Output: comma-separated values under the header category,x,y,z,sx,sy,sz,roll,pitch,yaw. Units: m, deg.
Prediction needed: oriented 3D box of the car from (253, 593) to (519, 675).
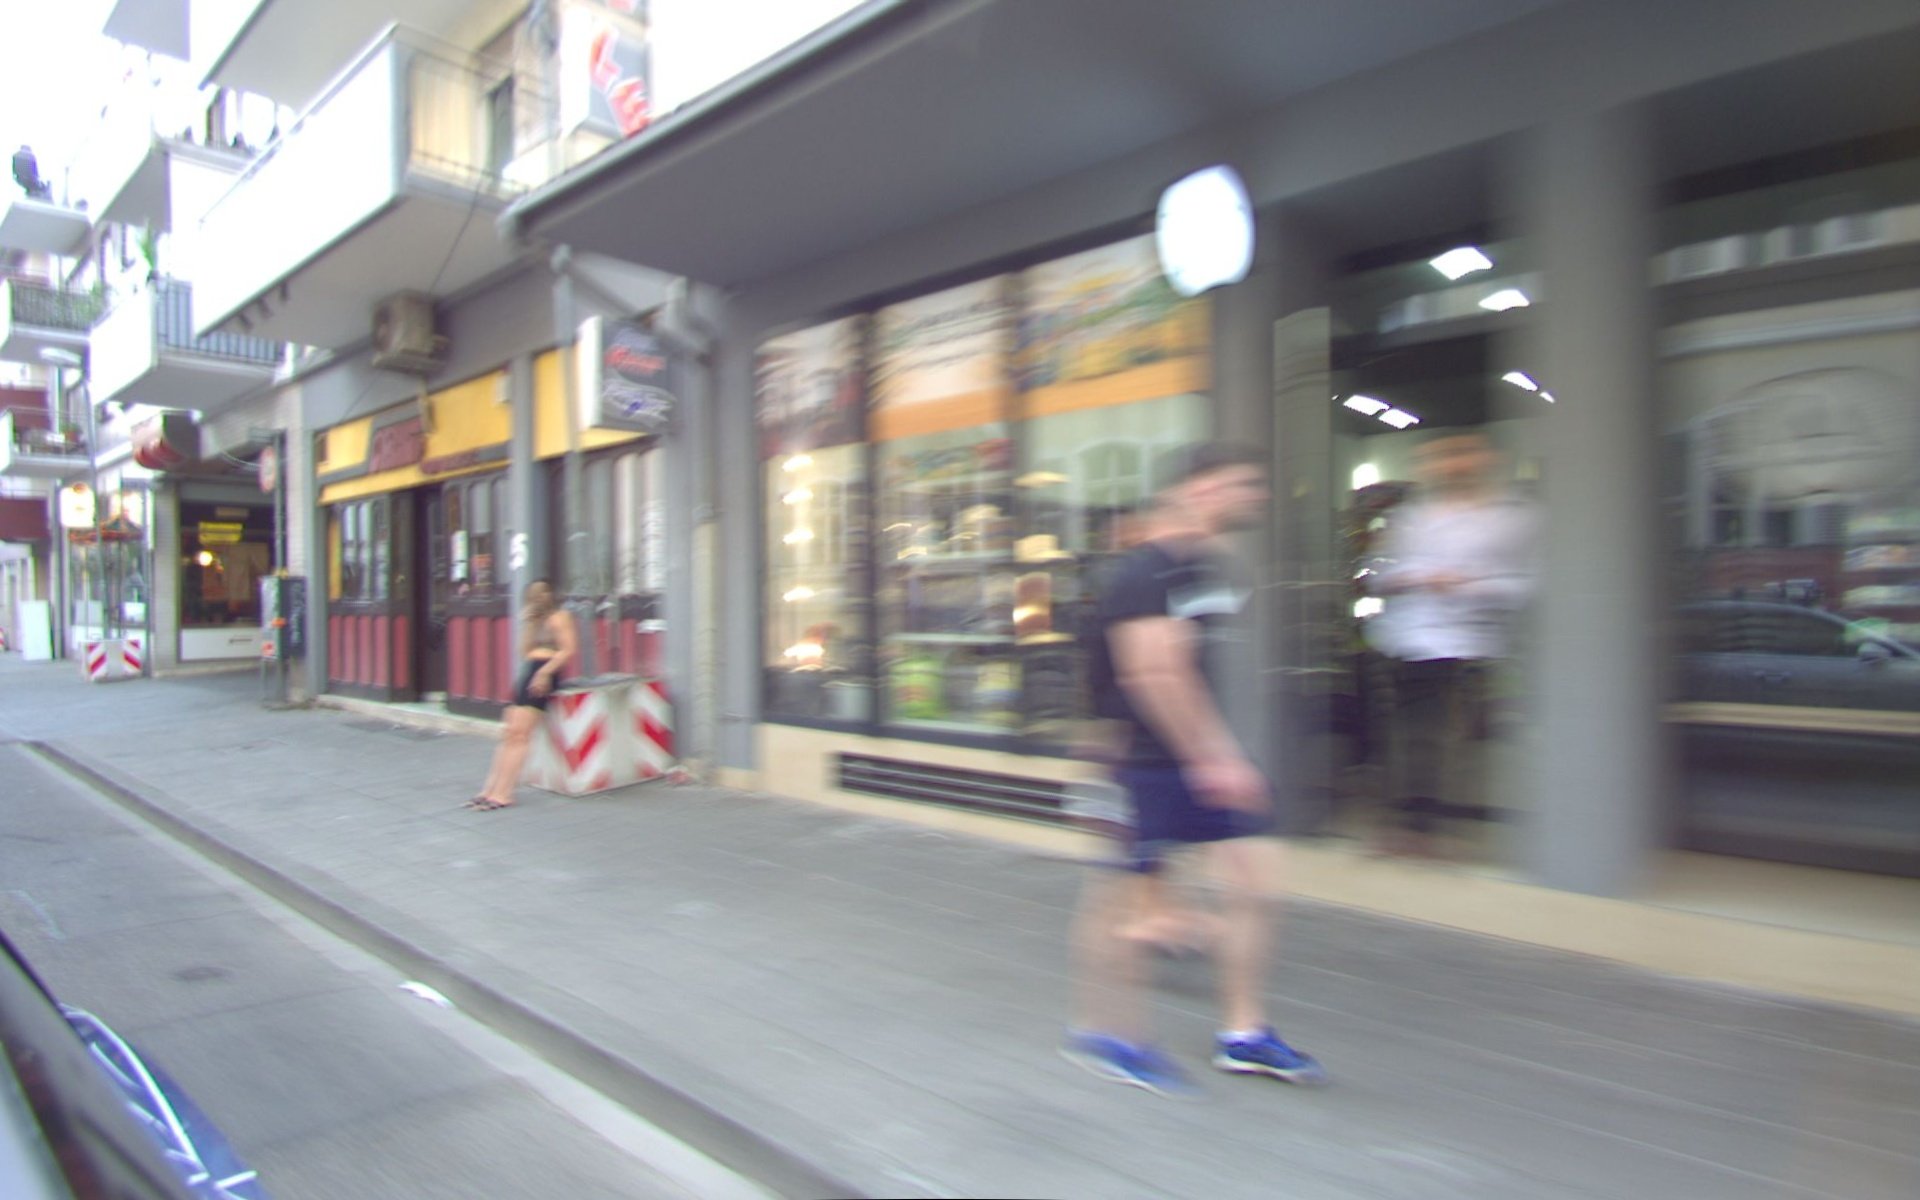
category,x,y,z,sx,sy,sz,roll,pitch,yaw
car,-11.819,0.629,21.076,2.068,1.474,4.387,-1,0,40

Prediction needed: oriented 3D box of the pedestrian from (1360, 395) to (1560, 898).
category,x,y,z,sx,sy,sz,roll,pitch,yaw
pedestrian,2.016,0.170,4.078,0.613,1.824,0.538,0,-1,40

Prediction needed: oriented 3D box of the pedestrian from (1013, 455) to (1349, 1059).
category,x,y,z,sx,sy,sz,roll,pitch,yaw
pedestrian,0.776,0.464,3.574,0.932,1.795,0.697,0,0,41

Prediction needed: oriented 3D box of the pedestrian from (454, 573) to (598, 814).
category,x,y,z,sx,sy,sz,roll,pitch,yaw
pedestrian,-3.070,0.614,7.176,0.612,1.590,0.702,0,1,38

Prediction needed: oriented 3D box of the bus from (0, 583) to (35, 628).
category,x,y,z,sx,sy,sz,roll,pitch,yaw
bus,-73.861,0.348,71.260,3.896,3.350,12.449,1,0,20

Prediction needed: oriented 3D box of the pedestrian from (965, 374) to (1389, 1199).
category,x,y,z,sx,sy,sz,roll,pitch,yaw
pedestrian,0.598,0.415,2.817,0.932,1.824,0.707,0,-1,41
